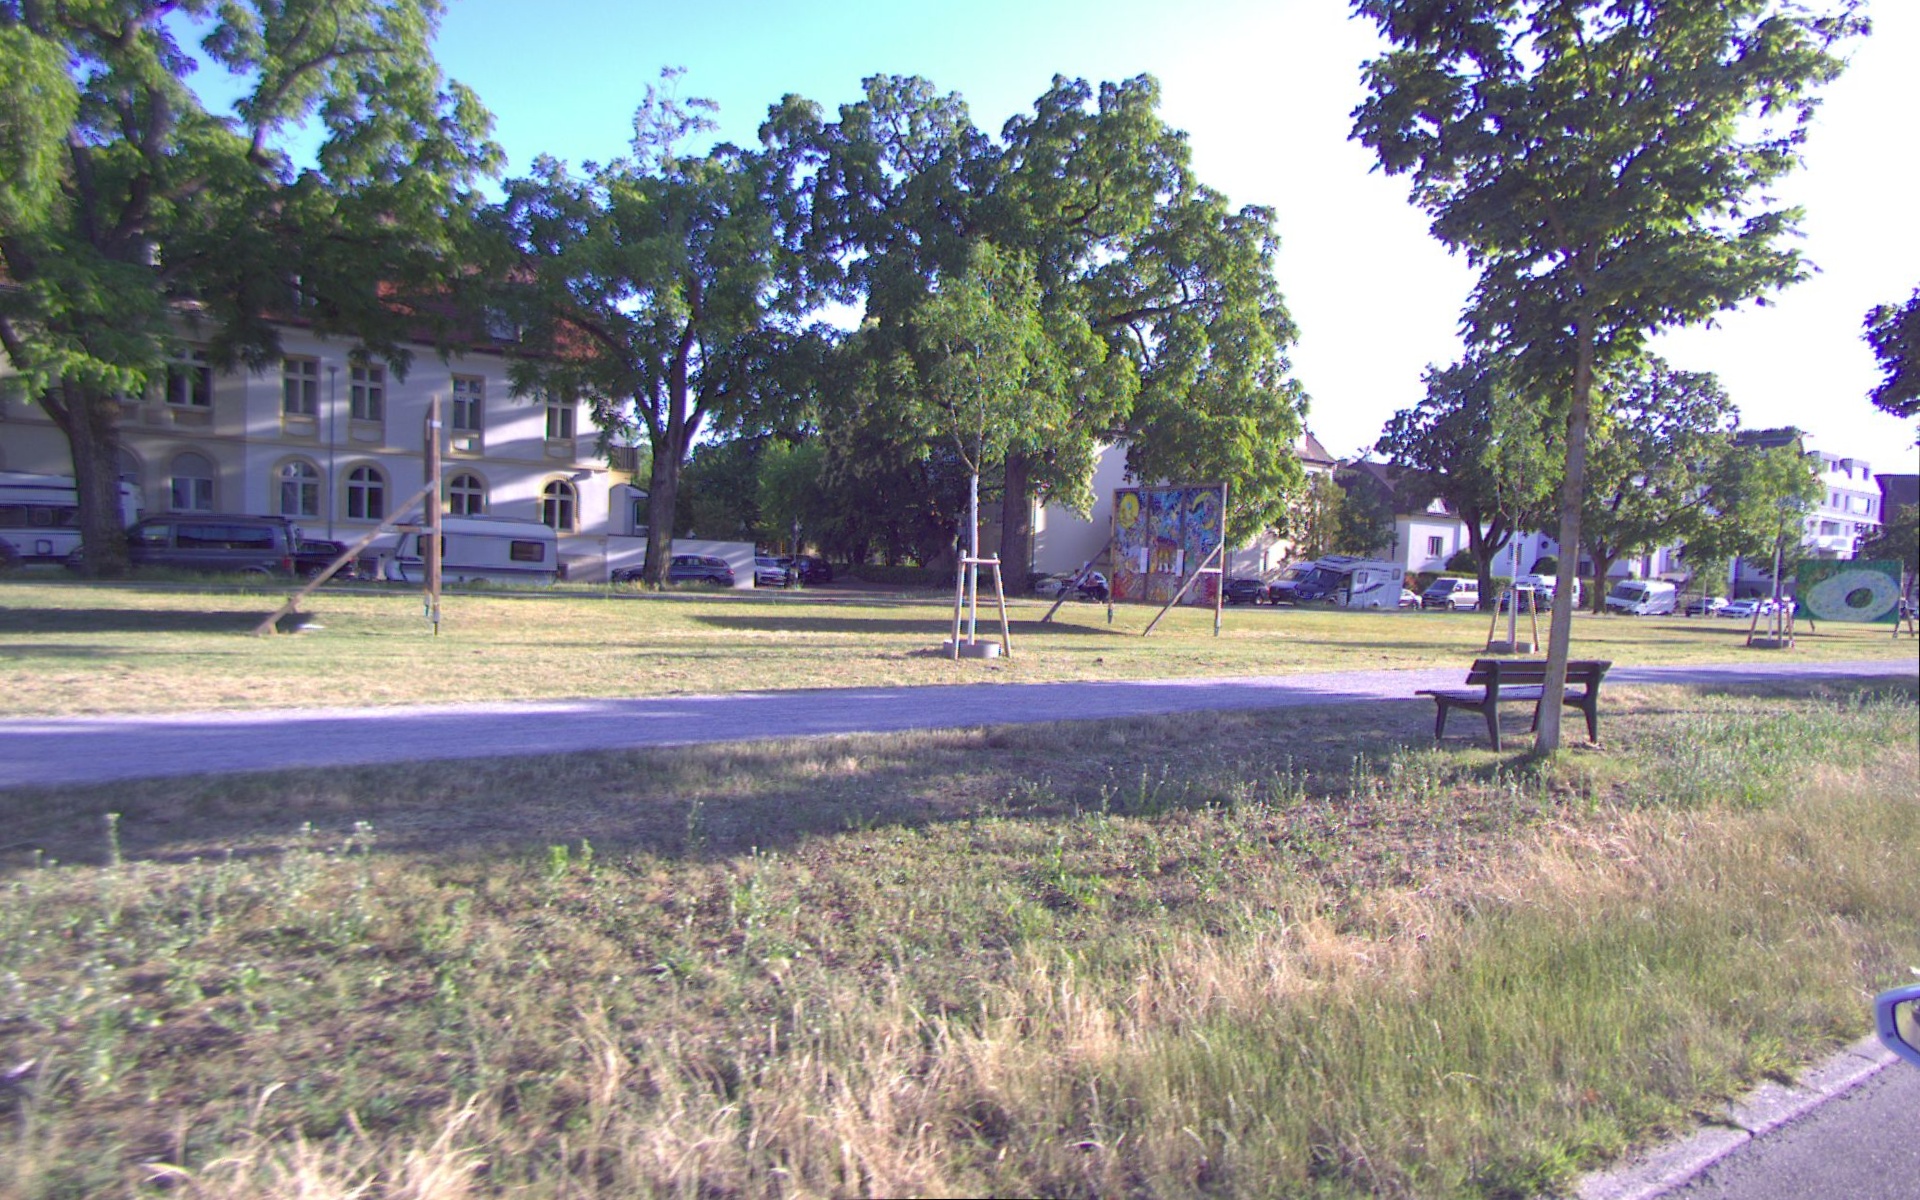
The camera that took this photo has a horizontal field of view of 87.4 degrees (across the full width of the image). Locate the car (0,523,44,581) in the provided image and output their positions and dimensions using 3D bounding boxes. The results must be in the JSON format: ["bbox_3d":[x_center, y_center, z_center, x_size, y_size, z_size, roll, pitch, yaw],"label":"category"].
[{"bbox_3d":[-24.564,-1.226,23.694,3.991,1.333,1.845,2,3,-28],"label":"car"}]

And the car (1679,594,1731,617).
[{"bbox_3d":[60.952,0.488,82.170,4.613,1.725,1.773,2,-2,-31],"label":"car"}]

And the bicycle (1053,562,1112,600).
[{"bbox_3d":[4.621,-0.698,37.830,2.300,1.360,0.508,1,3,-28],"label":"bicycle"}]

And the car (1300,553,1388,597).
[{"bbox_3d":[19.118,-1.231,49.984,3.952,2.041,1.984,1,3,-30],"label":"car"}]

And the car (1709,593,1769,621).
[{"bbox_3d":[56.530,0.537,72.897,4.587,1.924,1.825,2,-2,-30],"label":"car"}]

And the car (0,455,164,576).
[{"bbox_3d":[-26.960,-2.424,28.954,6.004,3.293,1.983,0,3,-31],"label":"car"}]

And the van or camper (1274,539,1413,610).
[{"bbox_3d":[19.118,-1.231,49.984,6.822,3.307,2.629,1,3,-30],"label":"van or camper"}]

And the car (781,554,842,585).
[{"bbox_3d":[-8.927,-1.842,60.222,2.156,1.703,4.110,1,3,-32],"label":"car"}]

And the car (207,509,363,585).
[{"bbox_3d":[-21.358,-1.649,32.005,3.952,2.183,1.984,1,3,-30],"label":"car"}]

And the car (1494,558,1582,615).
[{"bbox_3d":[39.877,-0.851,69.227,6.687,3.606,2.292,2,-2,-31],"label":"car"}]

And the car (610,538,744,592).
[{"bbox_3d":[-10.932,-1.339,38.896,4.658,1.938,1.881,1,3,-30],"label":"car"}]

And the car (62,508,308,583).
[{"bbox_3d":[-20.154,-1.402,26.456,4.897,1.664,1.982,1,3,-32],"label":"car"}]

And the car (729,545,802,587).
[{"bbox_3d":[-9.857,-1.725,50.573,1.961,1.925,4.482,1,3,-34],"label":"car"}]

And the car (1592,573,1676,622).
[{"bbox_3d":[43.435,-0.115,64.688,5.802,2.863,2.250,2,-2,-30],"label":"car"}]

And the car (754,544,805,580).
[{"bbox_3d":[-11.625,-2.447,64.430,1.850,2.152,3.964,1,3,-32],"label":"car"}]

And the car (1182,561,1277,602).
[{"bbox_3d":[14.631,-0.975,54.468,4.990,2.031,1.960,1,3,-30],"label":"car"}]

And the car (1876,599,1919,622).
[{"bbox_3d":[82.688,0.954,88.331,4.637,1.852,1.919,2,-2,-31],"label":"car"}]

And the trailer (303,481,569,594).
[{"bbox_3d":[-15.133,-1.662,29.317,6.562,2.694,2.461,2,-2,-31],"label":"trailer"}]

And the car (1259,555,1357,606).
[{"bbox_3d":[20.171,-1.078,58.128,6.020,2.632,1.984,2,-2,-31],"label":"car"}]

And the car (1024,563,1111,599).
[{"bbox_3d":[5.216,-0.922,48.770,3.768,1.563,1.982,1,3,-32],"label":"car"}]

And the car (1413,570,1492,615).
[{"bbox_3d":[31.586,-0.423,64.429,5.268,2.638,2.124,2,-2,-32],"label":"car"}]
